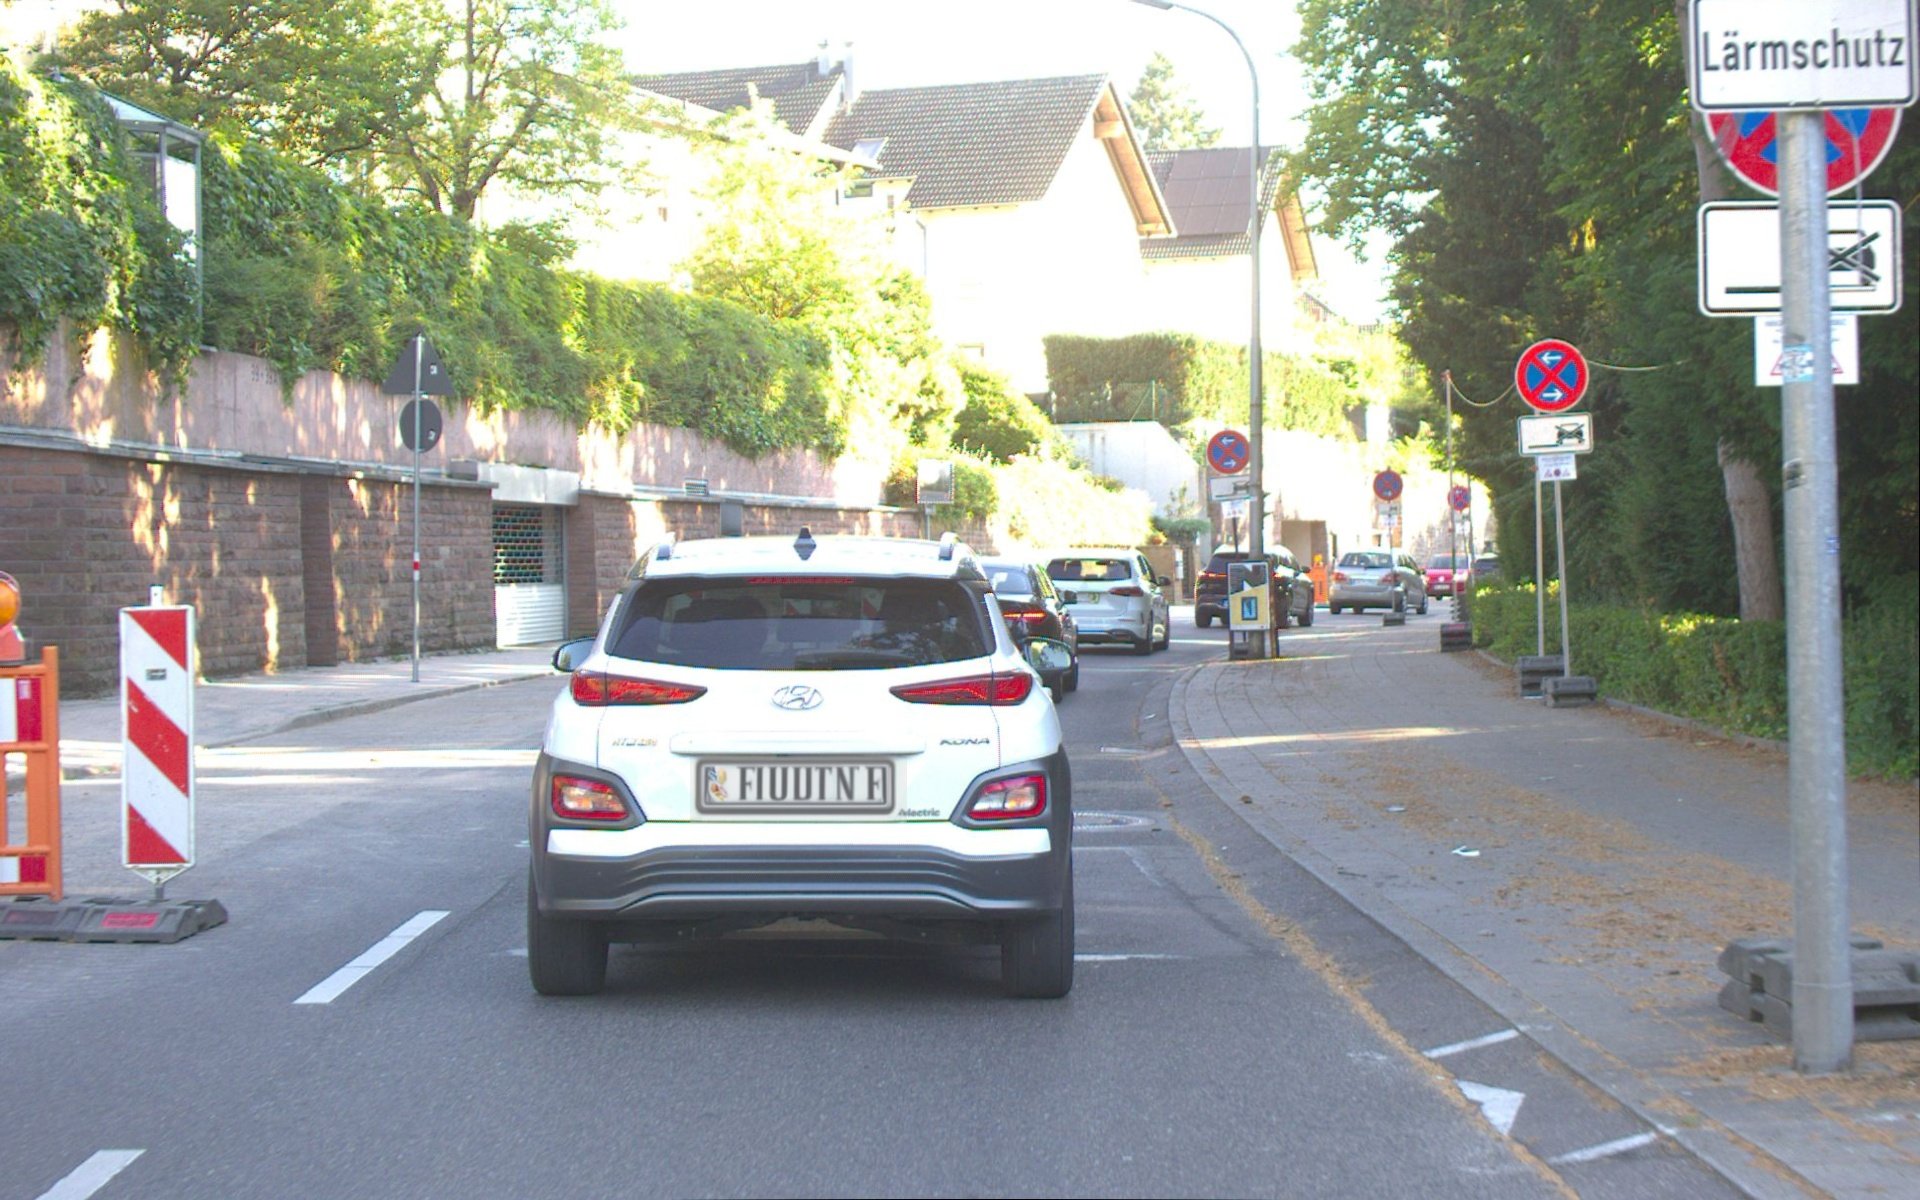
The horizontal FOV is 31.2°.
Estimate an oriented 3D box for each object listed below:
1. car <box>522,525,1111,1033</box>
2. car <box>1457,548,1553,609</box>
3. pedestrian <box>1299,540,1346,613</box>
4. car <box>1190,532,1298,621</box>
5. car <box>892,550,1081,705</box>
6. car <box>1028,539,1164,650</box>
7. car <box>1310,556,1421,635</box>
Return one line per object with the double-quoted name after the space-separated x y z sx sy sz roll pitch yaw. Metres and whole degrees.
-0.652 0.532 12.801 1.820 1.568 4.001 1 1 -6 "car"
15.557 -0.609 98.000 1.834 1.656 3.995 2 1 22 "car"
9.507 -0.620 90.089 1.080 1.905 0.840 1 1 15 "pedestrian"
5.623 -0.476 67.740 1.832 1.656 3.999 2 1 9 "car"
0.209 0.228 35.050 1.708 1.429 4.365 1 1 -2 "car"
2.044 -0.112 50.717 1.806 1.532 3.999 1 1 5 "car"
9.685 -0.128 81.823 1.833 1.734 3.997 3 1 17 "car"
